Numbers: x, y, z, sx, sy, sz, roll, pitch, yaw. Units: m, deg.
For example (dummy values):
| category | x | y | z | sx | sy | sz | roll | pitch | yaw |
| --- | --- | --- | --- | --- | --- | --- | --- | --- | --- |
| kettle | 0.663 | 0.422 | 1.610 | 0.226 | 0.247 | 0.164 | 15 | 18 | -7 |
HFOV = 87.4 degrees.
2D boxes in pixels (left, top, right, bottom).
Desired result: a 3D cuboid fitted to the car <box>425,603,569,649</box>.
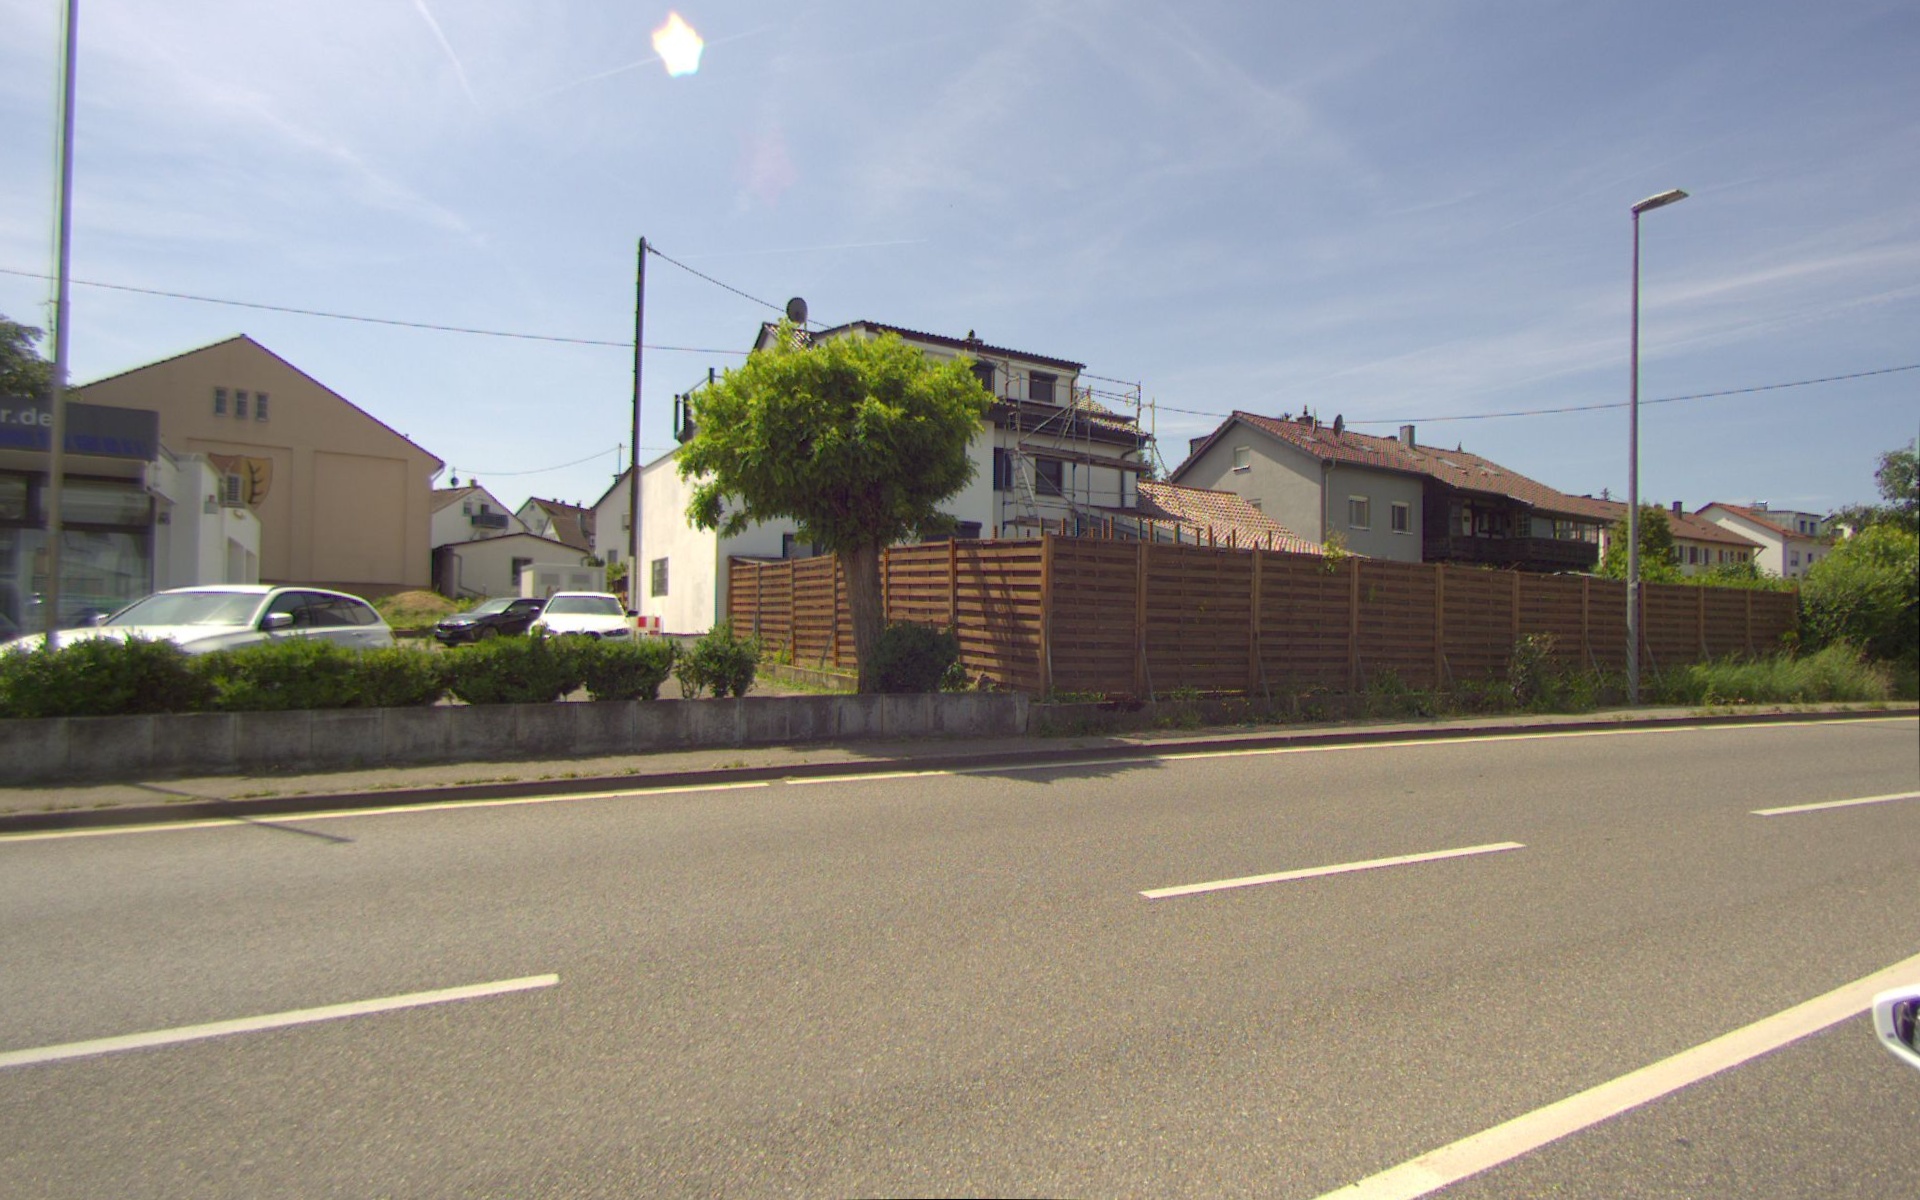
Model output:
| category | x | y | z | sx | sy | sz | roll | pitch | yaw |
| --- | --- | --- | --- | --- | --- | --- | --- | --- | --- |
| car | -14.332 | 0.773 | 31.349 | 1.756 | 1.238 | 3.999 | 2 | 1 | 21 |

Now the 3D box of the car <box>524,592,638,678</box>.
| category | x | y | z | sx | sy | sz | roll | pitch | yaw |
| --- | --- | --- | --- | --- | --- | --- | --- | --- | --- |
| car | -7.365 | 0.622 | 19.848 | 1.805 | 1.530 | 3.985 | 1 | 0 | -17 |

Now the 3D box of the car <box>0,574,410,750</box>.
| category | x | y | z | sx | sy | sz | roll | pitch | yaw |
| --- | --- | --- | --- | --- | --- | --- | --- | --- | --- |
| car | -7.912 | 0.541 | 10.831 | 1.822 | 1.467 | 4.339 | 2 | 0 | -5 |

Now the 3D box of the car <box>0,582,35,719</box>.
| category | x | y | z | sx | sy | sz | roll | pitch | yaw |
| --- | --- | --- | --- | --- | --- | --- | --- | --- | --- |
| car | -11.072 | 0.505 | 8.935 | 1.863 | 1.467 | 4.339 | 2 | 0 | -5 |
